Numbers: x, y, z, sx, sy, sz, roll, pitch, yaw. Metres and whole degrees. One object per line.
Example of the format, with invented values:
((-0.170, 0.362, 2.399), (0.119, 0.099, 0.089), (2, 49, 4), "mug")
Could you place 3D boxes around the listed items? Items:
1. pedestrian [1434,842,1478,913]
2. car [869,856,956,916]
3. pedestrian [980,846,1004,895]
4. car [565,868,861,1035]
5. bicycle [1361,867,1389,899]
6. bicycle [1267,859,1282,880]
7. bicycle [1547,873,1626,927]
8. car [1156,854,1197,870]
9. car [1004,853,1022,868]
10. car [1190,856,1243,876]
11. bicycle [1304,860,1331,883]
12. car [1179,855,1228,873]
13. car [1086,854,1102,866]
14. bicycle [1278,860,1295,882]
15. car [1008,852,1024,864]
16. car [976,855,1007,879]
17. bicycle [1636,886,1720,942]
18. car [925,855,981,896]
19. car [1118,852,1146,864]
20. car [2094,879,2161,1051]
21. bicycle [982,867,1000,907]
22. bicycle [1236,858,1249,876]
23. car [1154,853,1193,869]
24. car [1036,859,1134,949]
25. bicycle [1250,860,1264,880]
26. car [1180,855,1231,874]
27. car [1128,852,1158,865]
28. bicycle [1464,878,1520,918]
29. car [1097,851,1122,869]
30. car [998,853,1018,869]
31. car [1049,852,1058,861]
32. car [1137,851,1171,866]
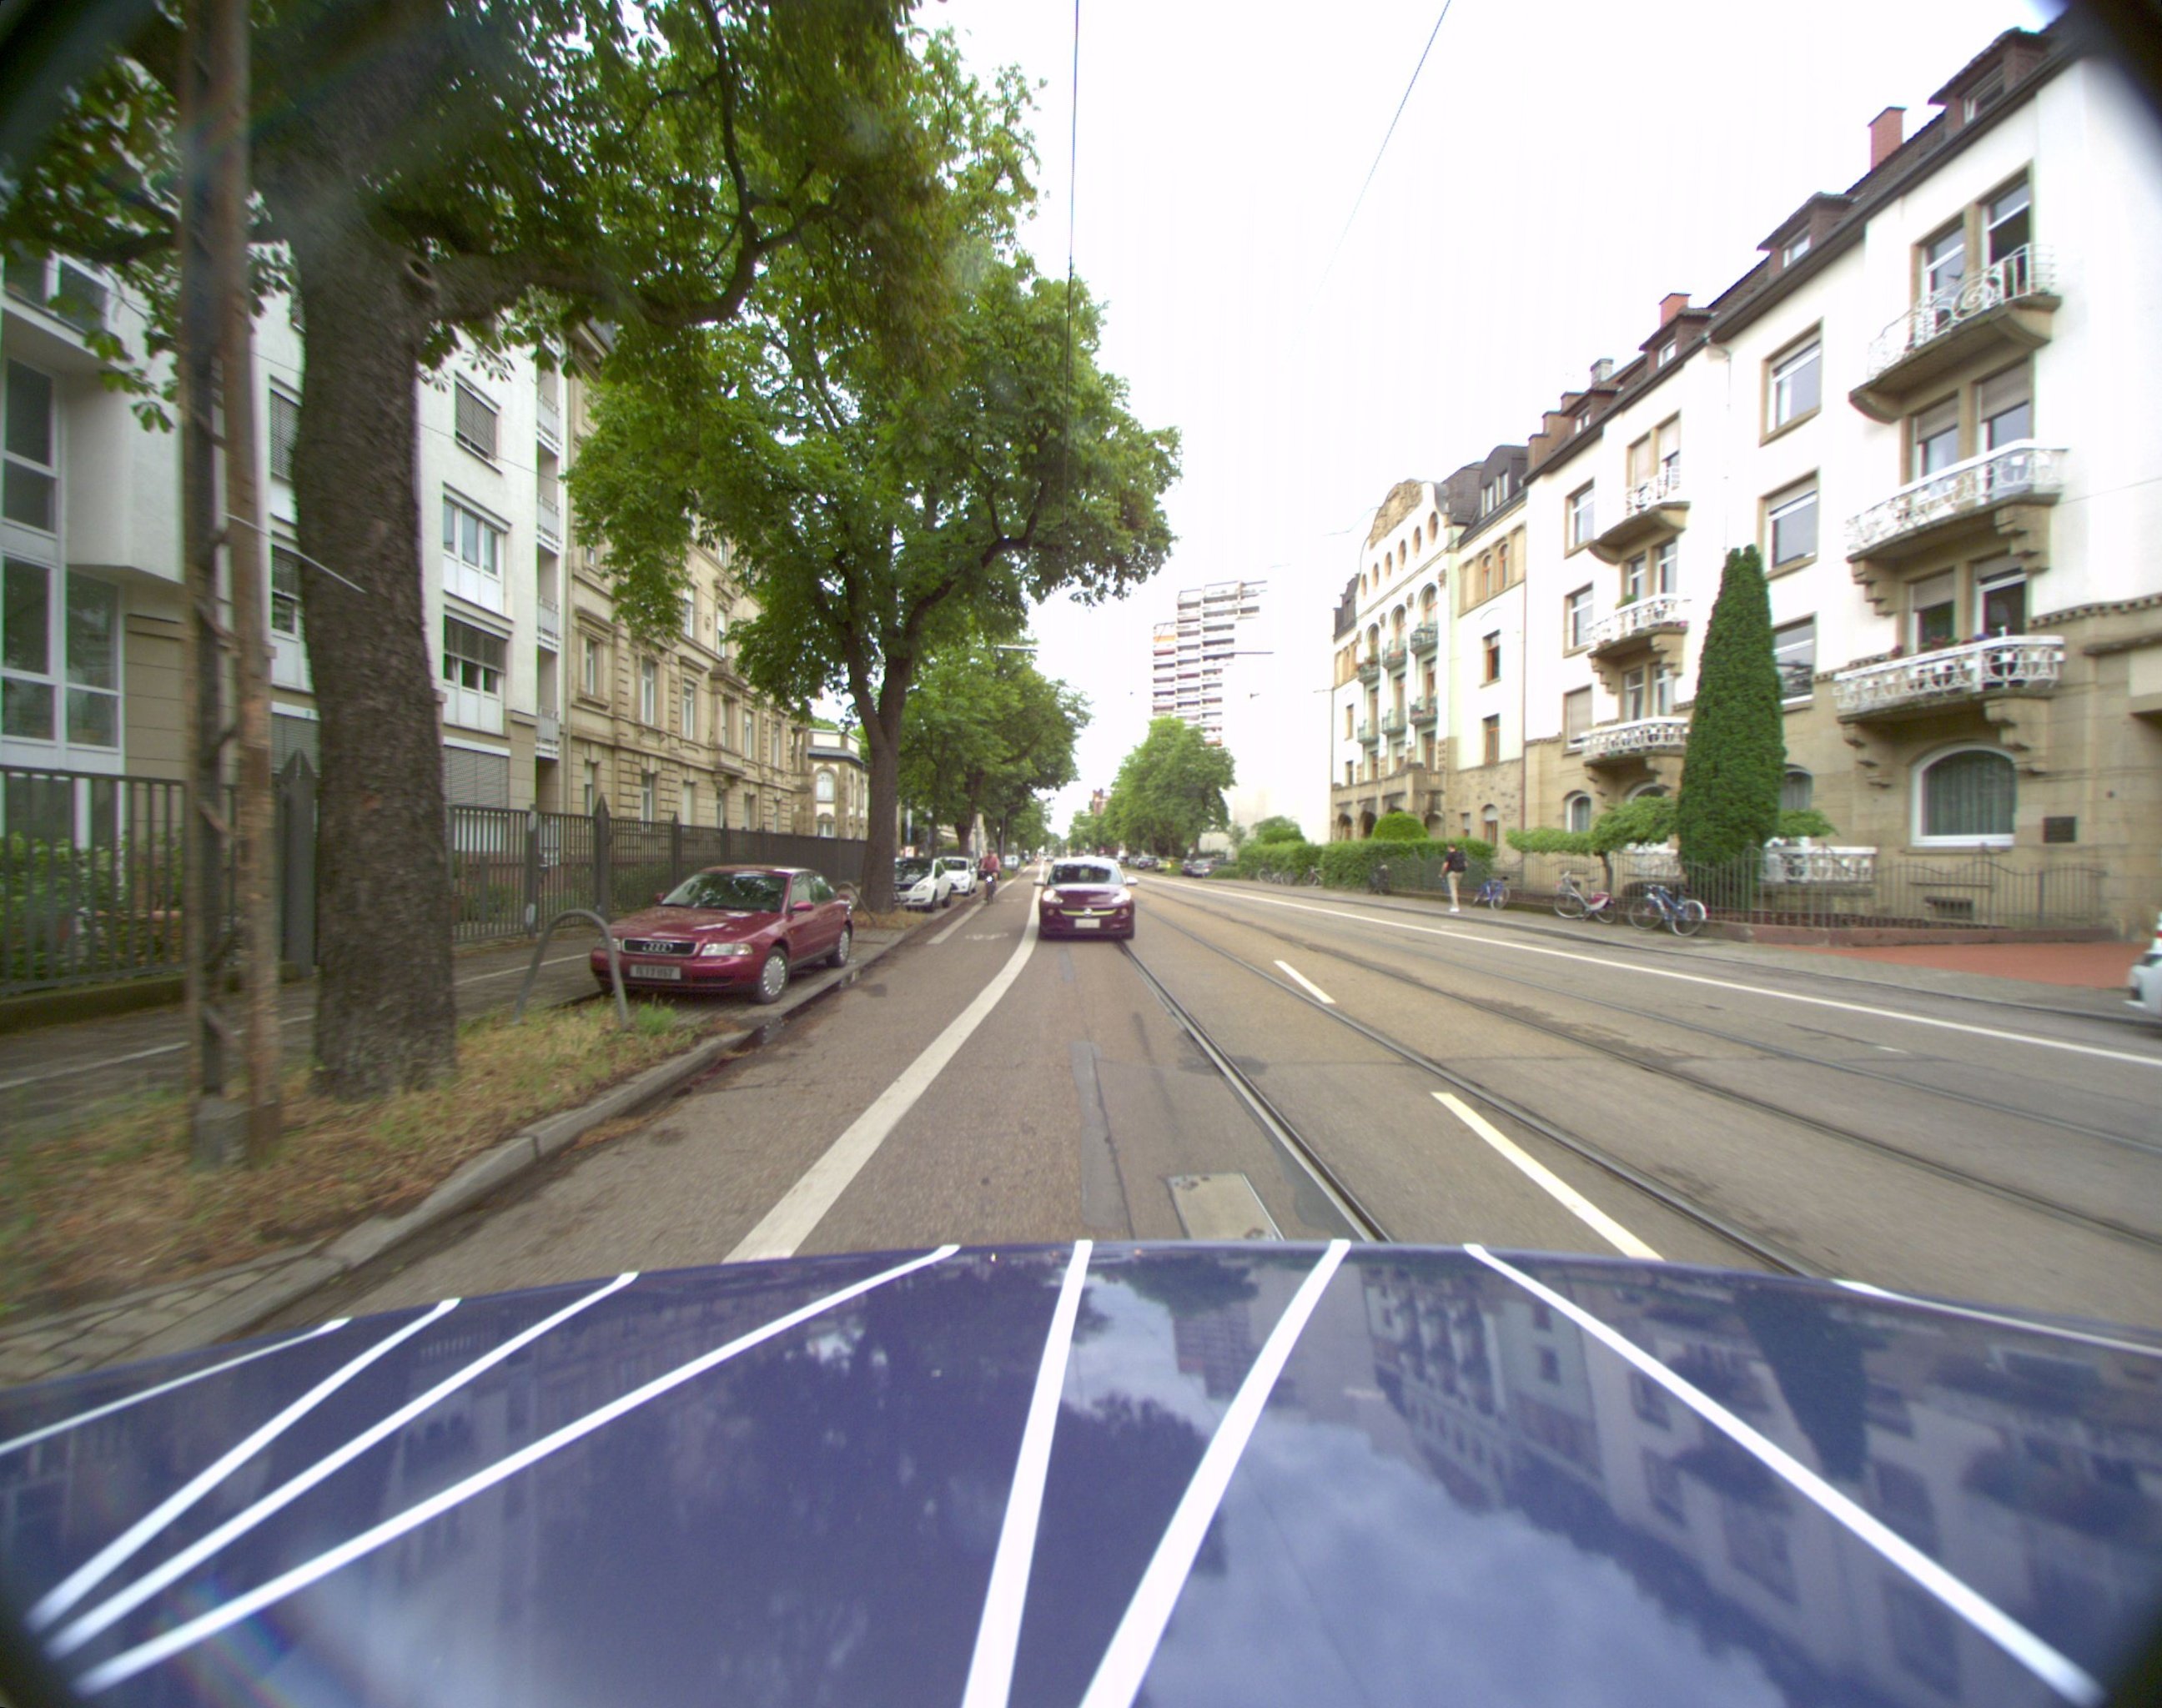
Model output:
((9.885, 0.599, 20.047), (0.670, 1.833, 0.882), (1, 1, -3), "pedestrian")
((-4.558, 0.804, 21.086), (1.606, 1.427, 3.776), (2, 0, -1), "car")
((-2.805, 0.517, 24.084), (0.684, 1.541, 0.704), (1, 1, -2), "pedestrian")
((-4.019, 0.948, 9.163), (1.606, 1.391, 4.226), (2, 0, -2), "car")
((10.777, 1.044, 27.870), (0.360, 1.077, 1.546), (1, 0, -2), "bicycle")
((10.203, 0.827, 40.082), (0.360, 1.077, 1.546), (1, 0, -2), "bicycle")
((11.200, 0.997, 16.898), (0.386, 1.095, 1.623), (1, 0, -14), "bicycle")
((8.979, 0.736, 71.382), (1.690, 1.387, 4.009), (1, 1, 44), "car")
((-6.922, 0.630, 77.800), (1.606, 1.416, 3.835), (2, 0, -2), "car")
((9.851, 0.845, 55.237), (4.009, 1.395, 1.690), (0, 1, -42), "car")
((11.472, 0.863, 36.850), (1.205, 1.077, 0.300), (-2, 1, -1), "bicycle")
((9.890, 0.765, 61.242), (4.009, 1.395, 1.690), (0, 1, -42), "car")
((1.686, 0.722, 97.866), (1.613, 1.414, 3.484), (2, 0, -5), "car")
((10.288, 0.836, 38.114), (0.360, 1.077, 1.546), (1, 0, -2), "bicycle")
((-7.697, 0.449, 90.202), (1.606, 1.362, 3.835), (2, 0, -2), "car")
((-5.621, 0.804, 48.040), (1.606, 1.362, 3.835), (2, 0, -2), "car")
((11.344, 1.118, 14.480), (0.333, 0.932, 1.515), (1, 0, -3), "bicycle")
((-4.881, 0.781, 29.430), (1.632, 1.427, 3.763), (2, 0, -2), "car")
((7.172, 0.529, 107.350), (1.690, 1.611, 4.009), (1, 1, 44), "car")
((10.395, 0.995, 4.781), (1.752, 1.476, 4.607), (1, 0, -3), "car")
((-2.861, 1.039, 24.214), (0.414, 1.197, 1.706), (1, 1, -2), "bicycle")
((9.861, 0.793, 46.456), (0.360, 1.077, 1.546), (1, 0, -2), "bicycle")
((9.071, 0.688, 74.438), (1.690, 1.434, 4.009), (1, 1, 44), "car")
((0.020, 0.845, 14.576), (1.606, 1.427, 3.776), (-1, 0, -1), "car")
((10.089, 0.900, 43.537), (0.360, 1.077, 1.546), (1, 0, -2), "bicycle")
((9.540, 0.780, 58.058), (4.009, 1.395, 1.690), (0, 1, -42), "car")
((8.001, 0.598, 97.547), (1.690, 1.611, 4.009), (1, 1, 44), "car")
((11.190, 1.179, 20.747), (0.358, 0.924, 1.661), (20, 0, 0), "bicycle")
((2.498, 0.524, 67.299), (1.703, 1.487, 3.929), (2, 0, -4), "car")
((-6.727, 0.655, 70.460), (1.606, 1.362, 3.835), (2, 0, -2), "car")
((-6.423, 0.571, 179.586), (1.998, 2.002, 3.999), (-1, 1, 0), "car")
((8.101, 0.487, 84.125), (1.690, 1.611, 4.009), (1, 1, 44), "car")
